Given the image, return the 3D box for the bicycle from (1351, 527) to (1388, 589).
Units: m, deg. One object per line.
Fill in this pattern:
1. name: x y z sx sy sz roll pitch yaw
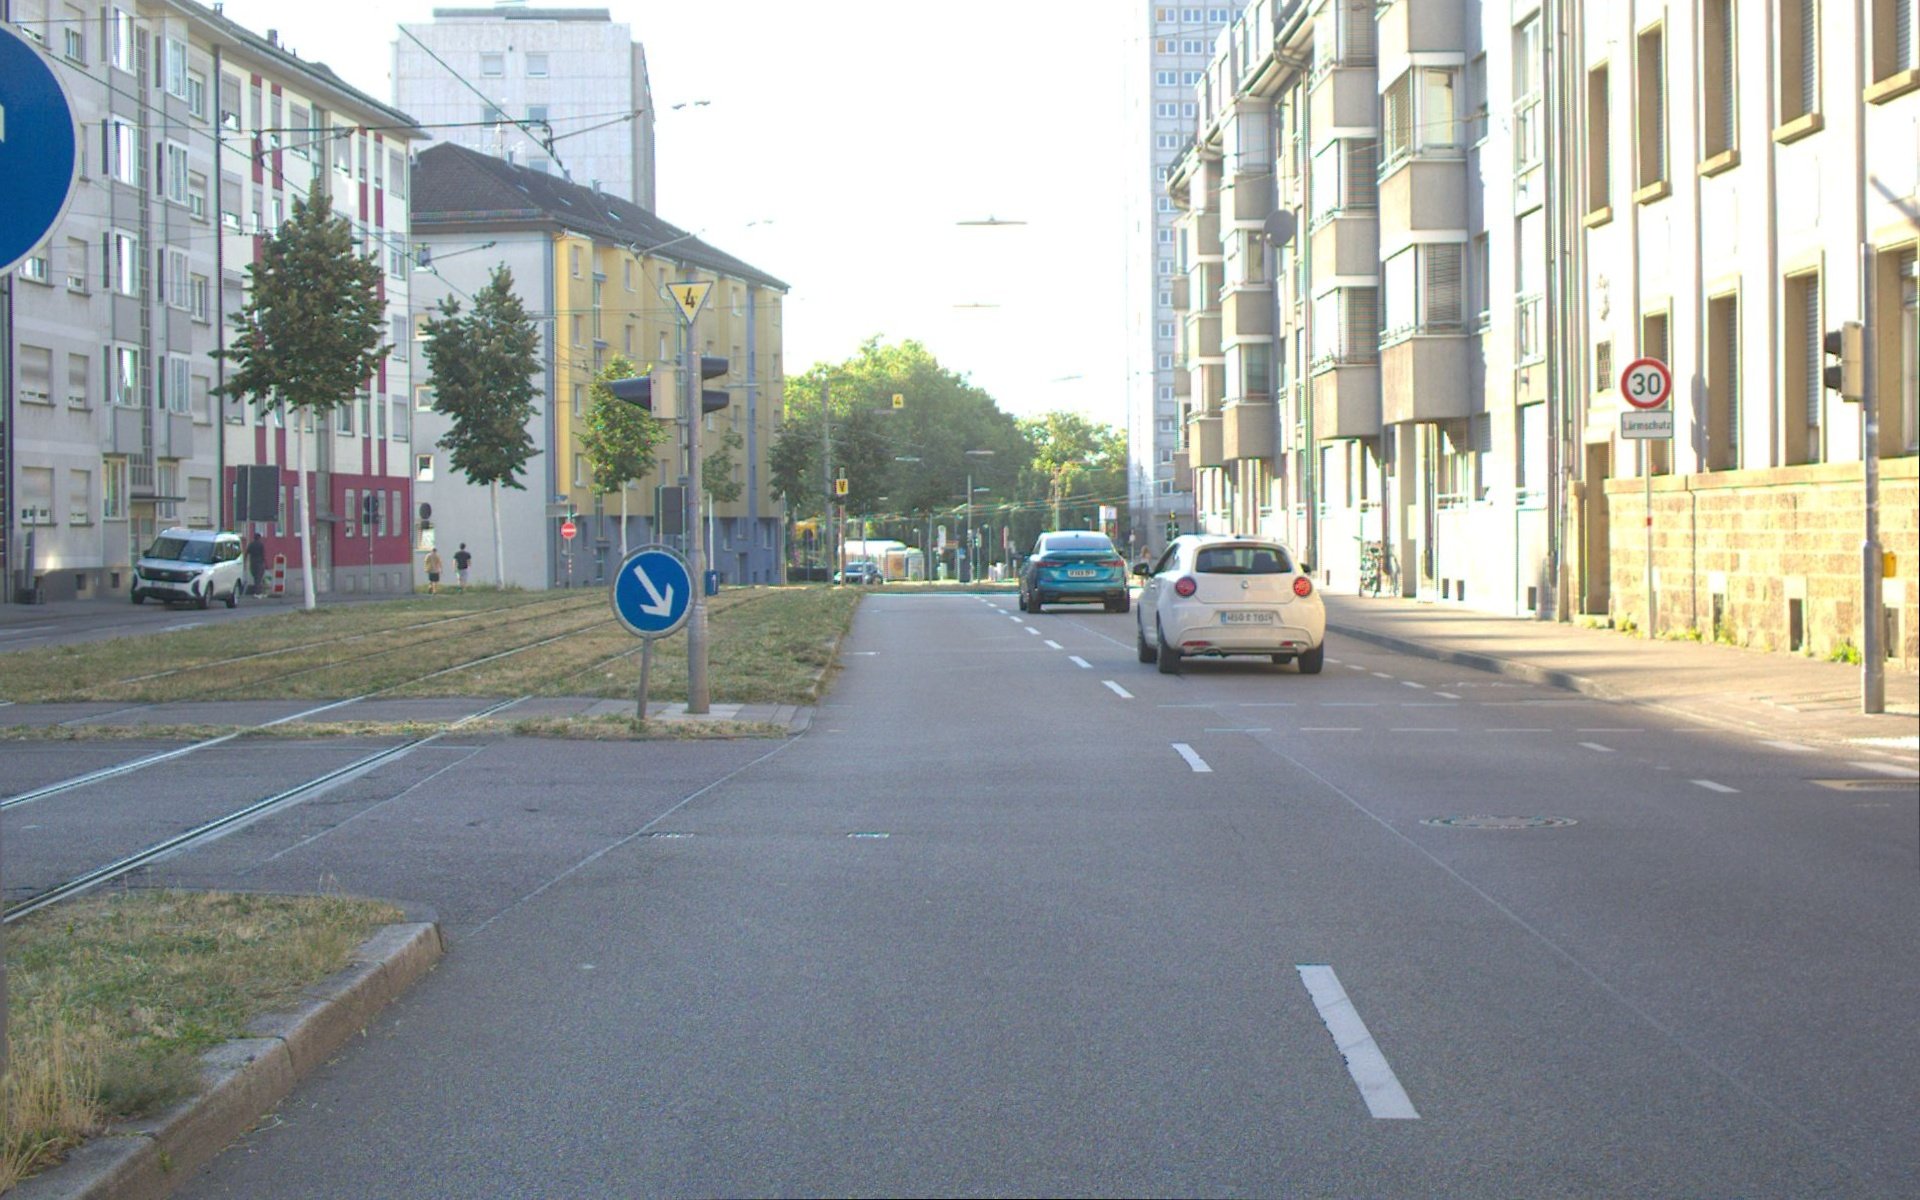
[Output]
1. bicycle: 7.365 -0.750 61.844 0.383 1.092 1.504 -1 1 -3

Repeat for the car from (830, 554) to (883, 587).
1. car: -5.293 -1.529 176.200 1.898 1.628 4.746 -1 1 8

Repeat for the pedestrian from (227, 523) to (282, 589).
1. pedestrian: -19.178 -1.197 93.447 1.269 1.755 1.274 1 0 -3

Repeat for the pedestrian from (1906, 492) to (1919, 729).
1. pedestrian: 7.522 0.081 25.340 0.835 1.756 0.824 1 0 -1

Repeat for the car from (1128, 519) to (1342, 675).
1. car: 2.886 -0.047 36.916 1.993 1.558 4.000 1 1 1

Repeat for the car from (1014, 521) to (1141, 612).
1. car: 2.065 -0.596 61.499 1.993 1.549 4.394 1 1 -1

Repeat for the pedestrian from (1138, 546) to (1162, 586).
1. pedestrian: 5.912 -1.048 106.823 0.691 1.230 0.736 1 0 0

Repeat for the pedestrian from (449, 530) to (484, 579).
1. pedestrian: -16.995 -1.569 118.437 0.962 1.664 1.011 1 0 5

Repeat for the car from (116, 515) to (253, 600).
1. car: -18.363 -1.001 81.622 1.994 1.918 4.541 1 1 3
